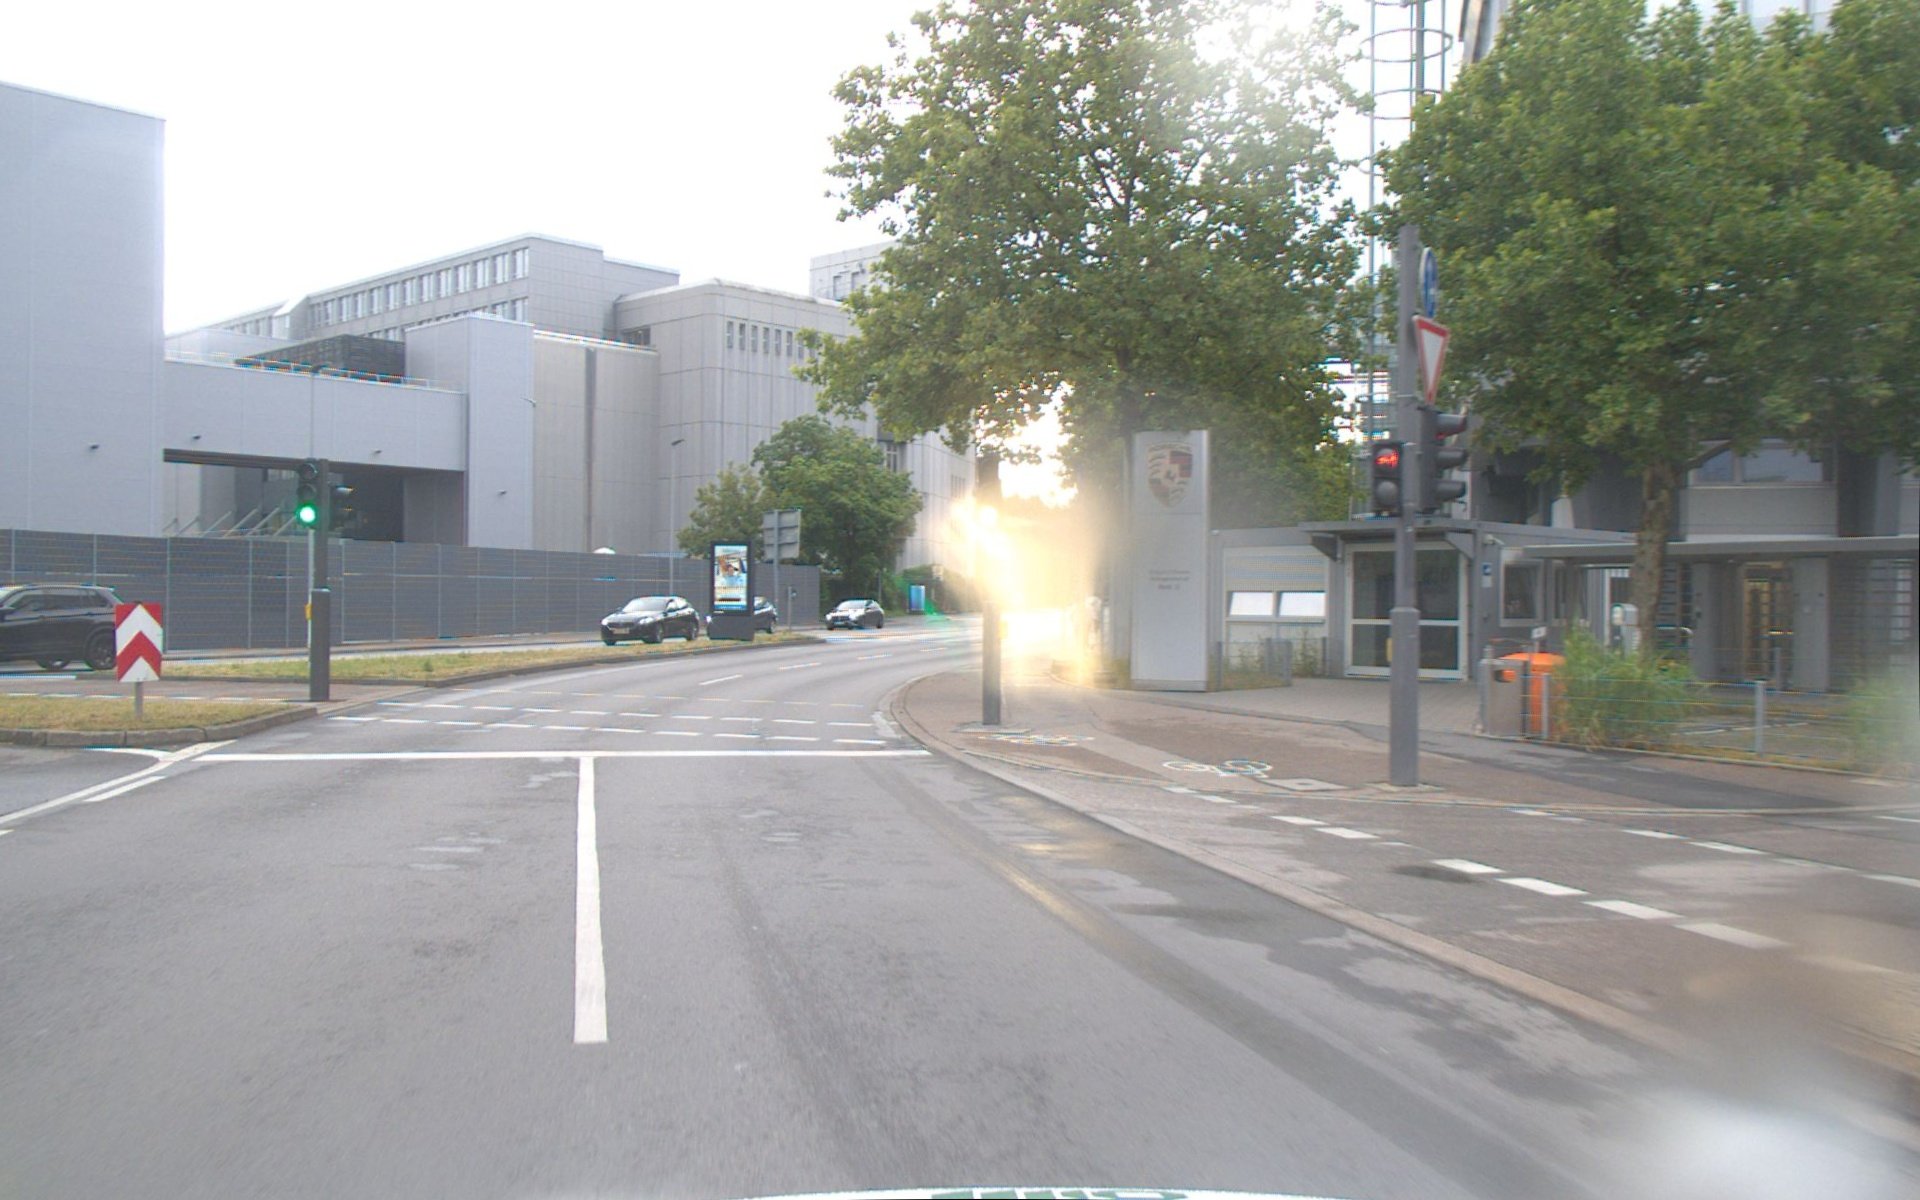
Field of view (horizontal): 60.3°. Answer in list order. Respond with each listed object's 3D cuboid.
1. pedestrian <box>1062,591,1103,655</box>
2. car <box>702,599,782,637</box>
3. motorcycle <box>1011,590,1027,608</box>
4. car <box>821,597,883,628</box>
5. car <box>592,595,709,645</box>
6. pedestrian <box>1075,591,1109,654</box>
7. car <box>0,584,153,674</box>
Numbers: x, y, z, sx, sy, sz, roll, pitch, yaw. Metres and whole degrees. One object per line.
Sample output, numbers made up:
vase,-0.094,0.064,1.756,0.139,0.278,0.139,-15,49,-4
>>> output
pedestrian,3.017,0.557,40.712,0.814,1.547,0.842,0,0,17
car,-8.897,0.718,67.906,1.745,1.479,4.564,-1,0,13
motorcycle,5.347,-0.093,150.293,0.938,1.583,3.302,0,0,11
car,-5.250,0.602,80.877,1.745,1.409,4.550,-2,0,13
car,-9.569,0.602,51.469,1.745,1.465,4.398,1,0,17
pedestrian,3.414,0.578,42.702,0.694,1.620,0.841,0,0,18
car,-17.682,0.520,30.878,1.749,1.616,4.559,1,0,28
